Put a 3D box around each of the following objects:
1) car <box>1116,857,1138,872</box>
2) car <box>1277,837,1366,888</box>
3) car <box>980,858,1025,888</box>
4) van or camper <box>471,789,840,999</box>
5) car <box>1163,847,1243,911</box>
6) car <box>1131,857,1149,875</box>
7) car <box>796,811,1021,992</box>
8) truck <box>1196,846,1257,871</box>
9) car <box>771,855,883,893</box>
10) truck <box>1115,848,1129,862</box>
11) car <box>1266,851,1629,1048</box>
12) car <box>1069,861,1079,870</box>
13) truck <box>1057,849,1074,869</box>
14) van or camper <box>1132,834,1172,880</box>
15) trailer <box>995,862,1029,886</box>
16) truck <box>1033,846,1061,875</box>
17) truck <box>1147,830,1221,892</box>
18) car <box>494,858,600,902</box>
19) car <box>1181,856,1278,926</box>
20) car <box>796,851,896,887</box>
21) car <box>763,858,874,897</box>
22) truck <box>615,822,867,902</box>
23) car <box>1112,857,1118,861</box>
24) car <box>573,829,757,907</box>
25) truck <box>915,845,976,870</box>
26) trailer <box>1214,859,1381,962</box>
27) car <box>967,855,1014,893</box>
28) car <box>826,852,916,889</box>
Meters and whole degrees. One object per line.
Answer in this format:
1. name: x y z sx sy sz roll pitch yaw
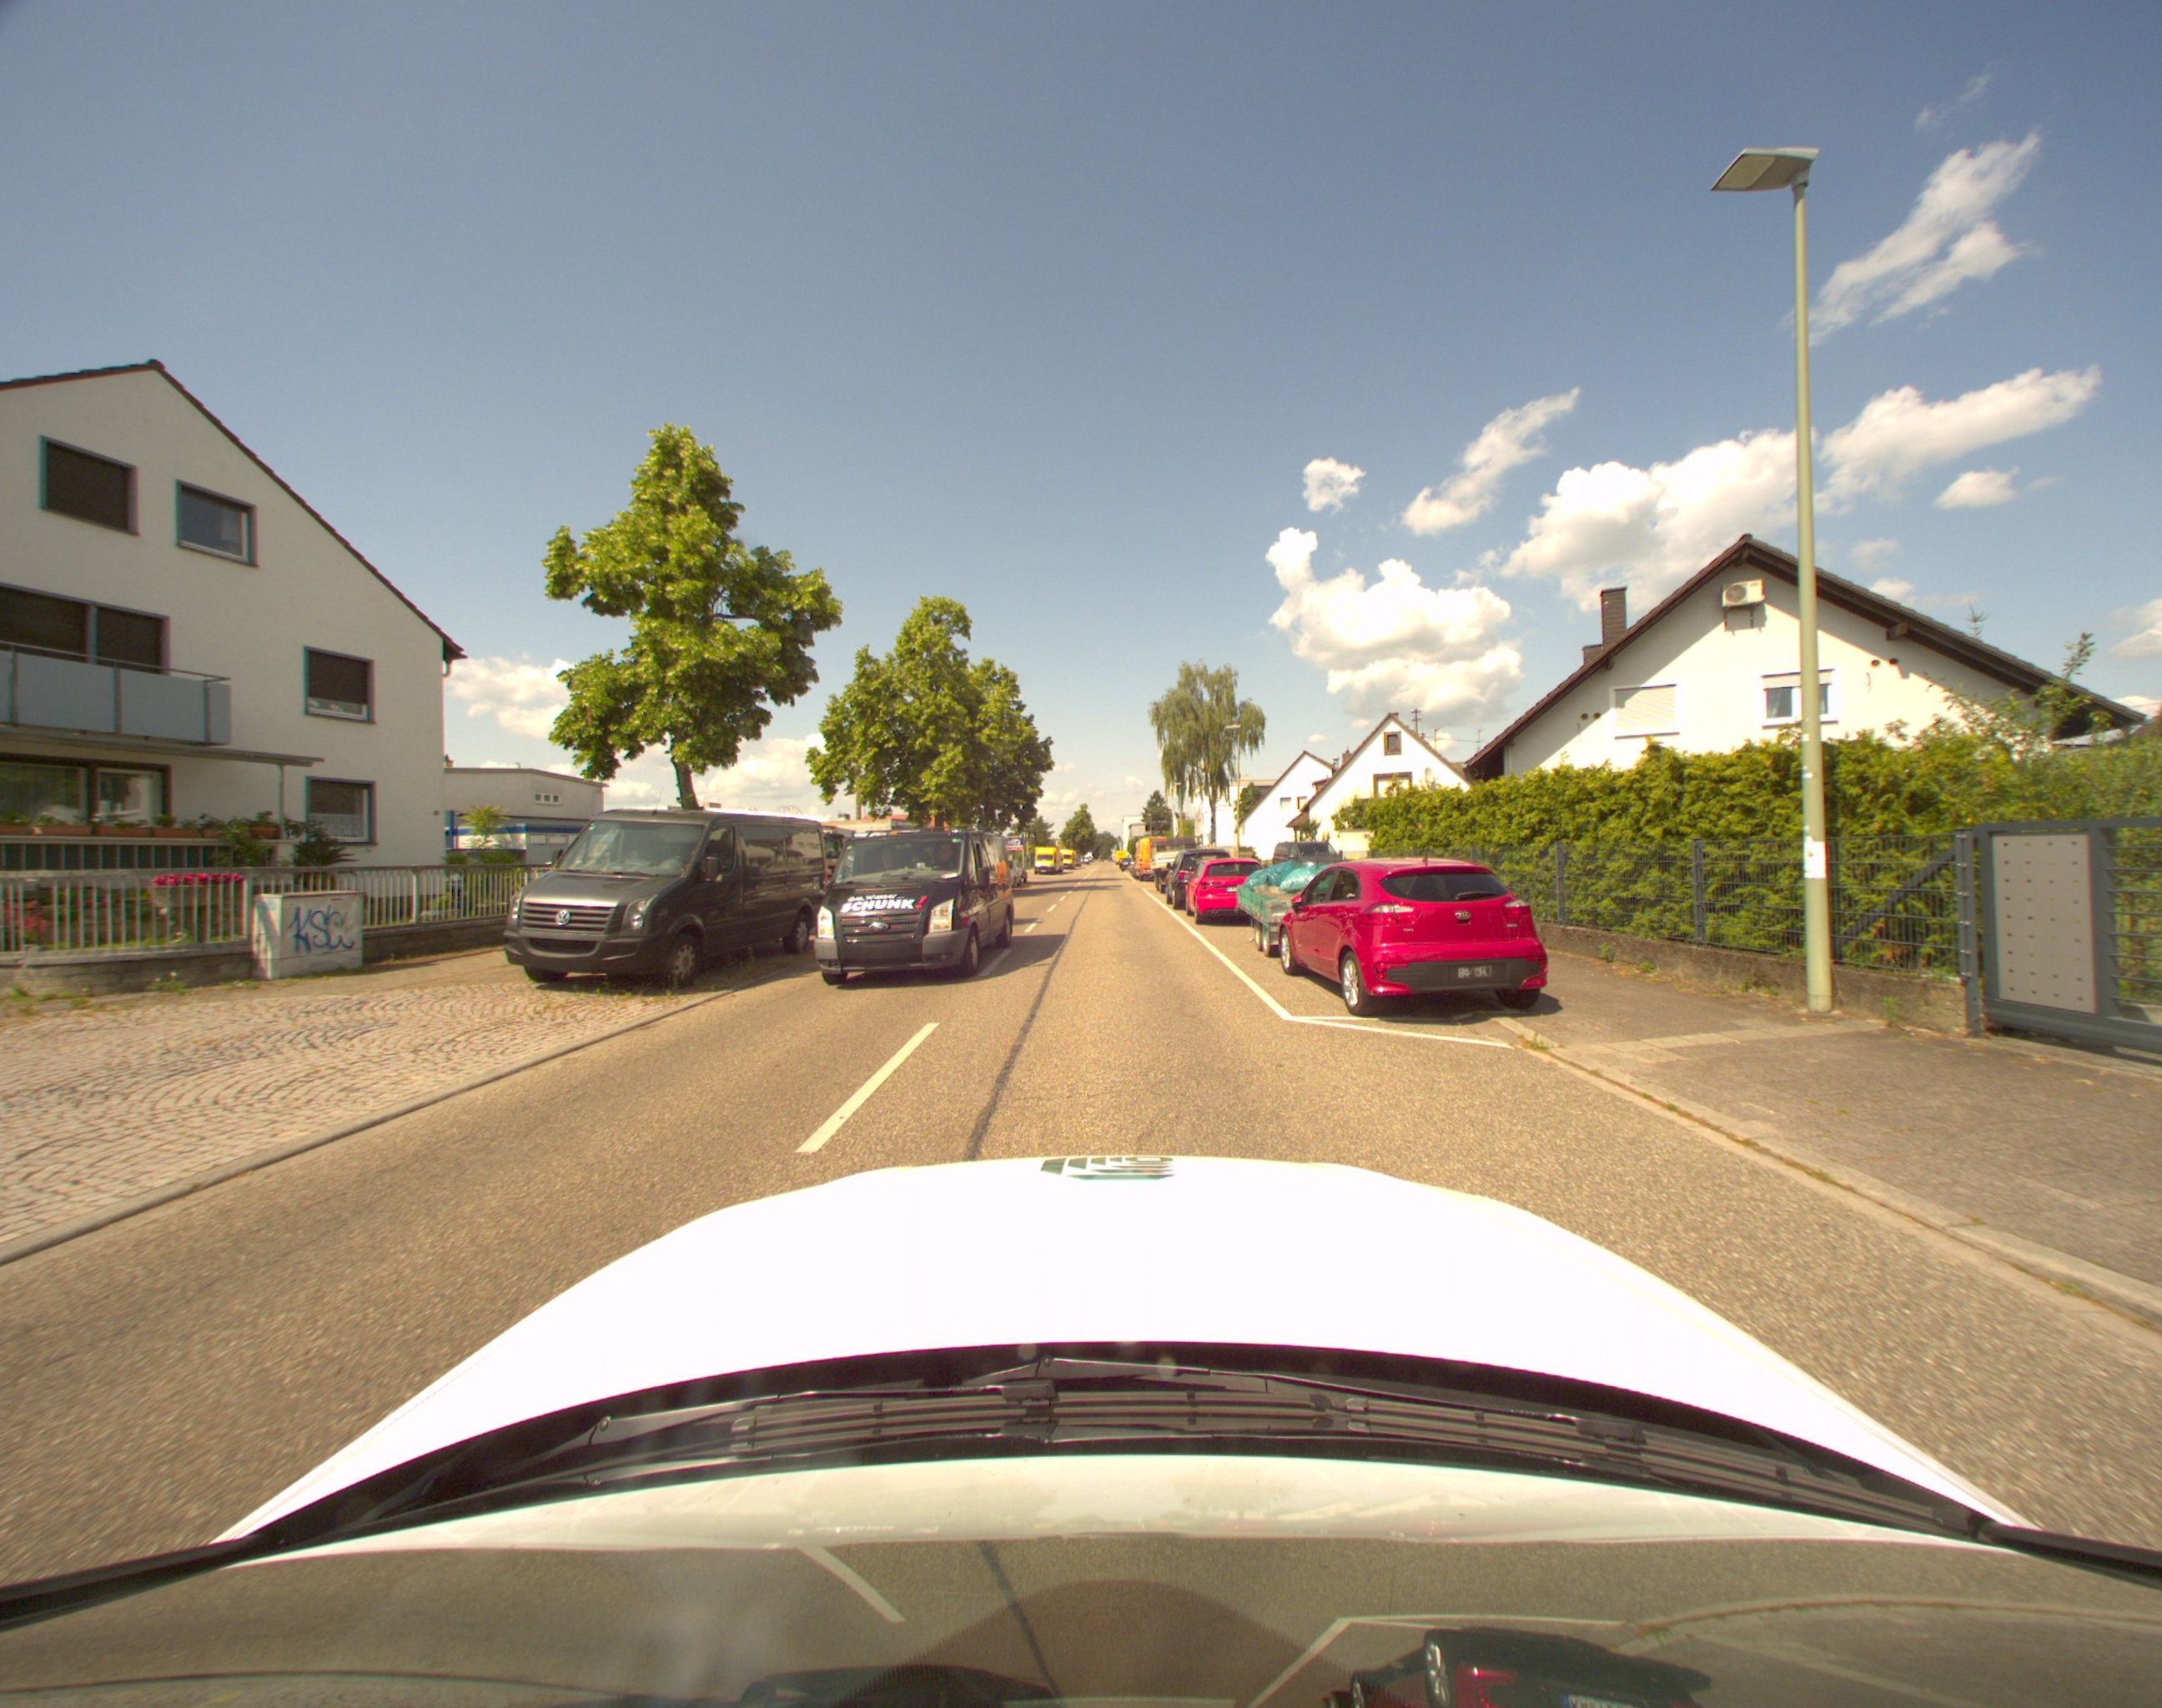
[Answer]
1. car: 4.878 1.076 85.464 1.416 1.519 3.032 -2 0 20
2. car: 9.646 0.342 33.108 1.852 1.865 5.015 -1 0 -3
3. car: -4.300 1.009 45.213 1.825 1.528 4.241 1 0 3
4. van or camper: -5.738 0.452 12.237 1.985 2.317 5.940 2 0 4
5. car: 3.456 0.674 23.808 1.823 1.662 4.556 -1 0 2
6. car: 5.394 1.078 75.198 1.603 1.580 4.004 0 0 3
7. car: -2.223 0.568 12.187 2.043 2.034 5.143 -3 0 1
8. truck: 15.655 0.444 87.776 6.068 2.577 2.546 -1 0 -25
9. car: -11.719 0.914 37.710 4.505 1.582 1.829 -2 0 3
10. truck: 8.417 0.193 167.418 2.466 2.940 7.188 0 0 1
11. car: 3.318 0.732 8.550 1.686 1.463 4.755 -1 0 0
12. car: -1.251 2.021 145.672 1.719 1.604 4.413 2 0 0
13. truck: -2.202 0.740 117.424 2.261 2.855 7.175 0 -1 1
14. van or camper: 4.436 0.191 51.500 1.987 2.664 5.768 -1 0 0
15. trailer: -4.226 1.199 50.496 1.756 1.289 4.506 2 0 0
16. truck: -3.440 0.635 83.830 2.211 2.857 7.075 0 0 3
17. truck: 4.199 0.276 34.261 2.512 2.299 5.898 -2 0 2
18. car: -23.013 1.081 35.286 1.633 1.757 3.931 -1 0 7
19. car: 3.322 0.774 18.923 1.678 1.435 4.149 -1 0 3
20. car: -11.514 0.723 40.084 4.280 1.614 1.827 -2 0 0
21. car: -11.354 1.001 35.335 4.179 1.459 1.680 -2 0 3
22. truck: -13.753 0.328 33.271 9.211 2.856 2.725 -2 0 6
23. car: 10.811 1.547 260.095 1.921 1.310 4.001 -2 0 2
24. car: -12.846 0.470 25.227 4.964 2.231 2.008 -1 -2 14
25. truck: -15.836 0.373 95.532 6.550 2.850 2.538 1 0 14
26. trailer: 3.297 0.778 13.251 1.602 1.378 4.433 -1 0 1
27. car: -4.377 0.929 39.933 1.687 1.700 4.401 1 0 1
28. car: -11.022 0.862 42.891 4.125 1.788 1.829 -2 -1 4
